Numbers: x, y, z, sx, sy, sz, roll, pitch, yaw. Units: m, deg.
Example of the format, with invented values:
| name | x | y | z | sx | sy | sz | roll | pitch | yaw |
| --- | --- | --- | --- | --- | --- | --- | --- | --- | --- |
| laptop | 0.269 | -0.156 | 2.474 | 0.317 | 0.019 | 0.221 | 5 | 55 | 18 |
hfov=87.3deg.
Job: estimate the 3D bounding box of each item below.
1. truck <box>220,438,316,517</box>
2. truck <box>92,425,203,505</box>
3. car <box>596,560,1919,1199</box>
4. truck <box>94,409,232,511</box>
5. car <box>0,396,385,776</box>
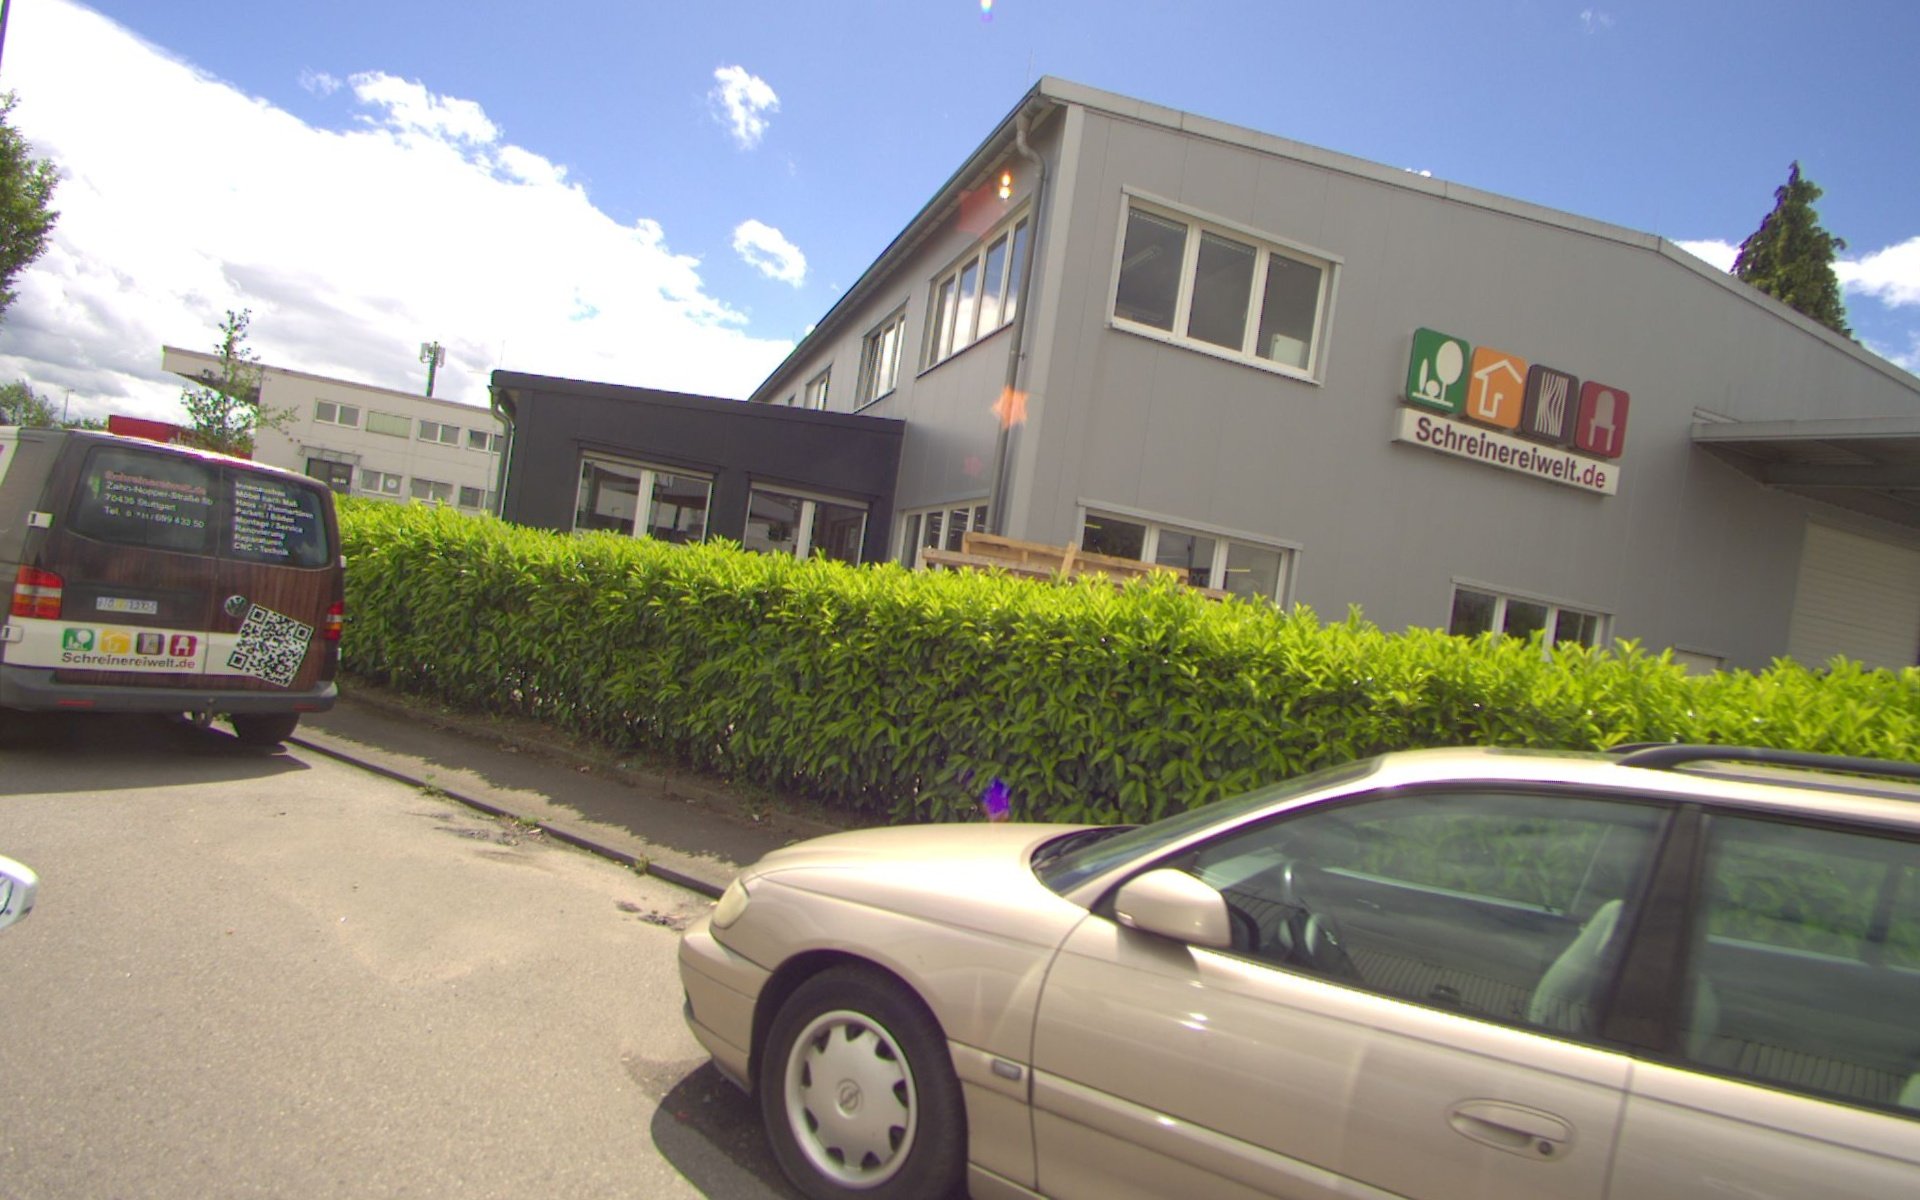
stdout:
| name | x | y | z | sx | sy | sz | roll | pitch | yaw |
| --- | --- | --- | --- | --- | --- | --- | --- | --- | --- |
| truck | -48.085 | -8.346 | 70.213 | 2.956 | 4.107 | 8.449 | 6 | -2 | -18 |
| truck | -57.092 | -9.324 | 70.974 | 2.956 | 4.107 | 8.449 | 6 | -2 | -18 |
| car | 1.387 | 0.955 | 2.515 | 4.655 | 1.558 | 1.658 | 7 | -1 | 32 |
| truck | -43.895 | -7.528 | 55.810 | 2.956 | 4.107 | 8.449 | 6 | -2 | -18 |
| car | -6.677 | -0.241 | 7.421 | 5.058 | 2.014 | 1.872 | 7 | -1 | 32 |
